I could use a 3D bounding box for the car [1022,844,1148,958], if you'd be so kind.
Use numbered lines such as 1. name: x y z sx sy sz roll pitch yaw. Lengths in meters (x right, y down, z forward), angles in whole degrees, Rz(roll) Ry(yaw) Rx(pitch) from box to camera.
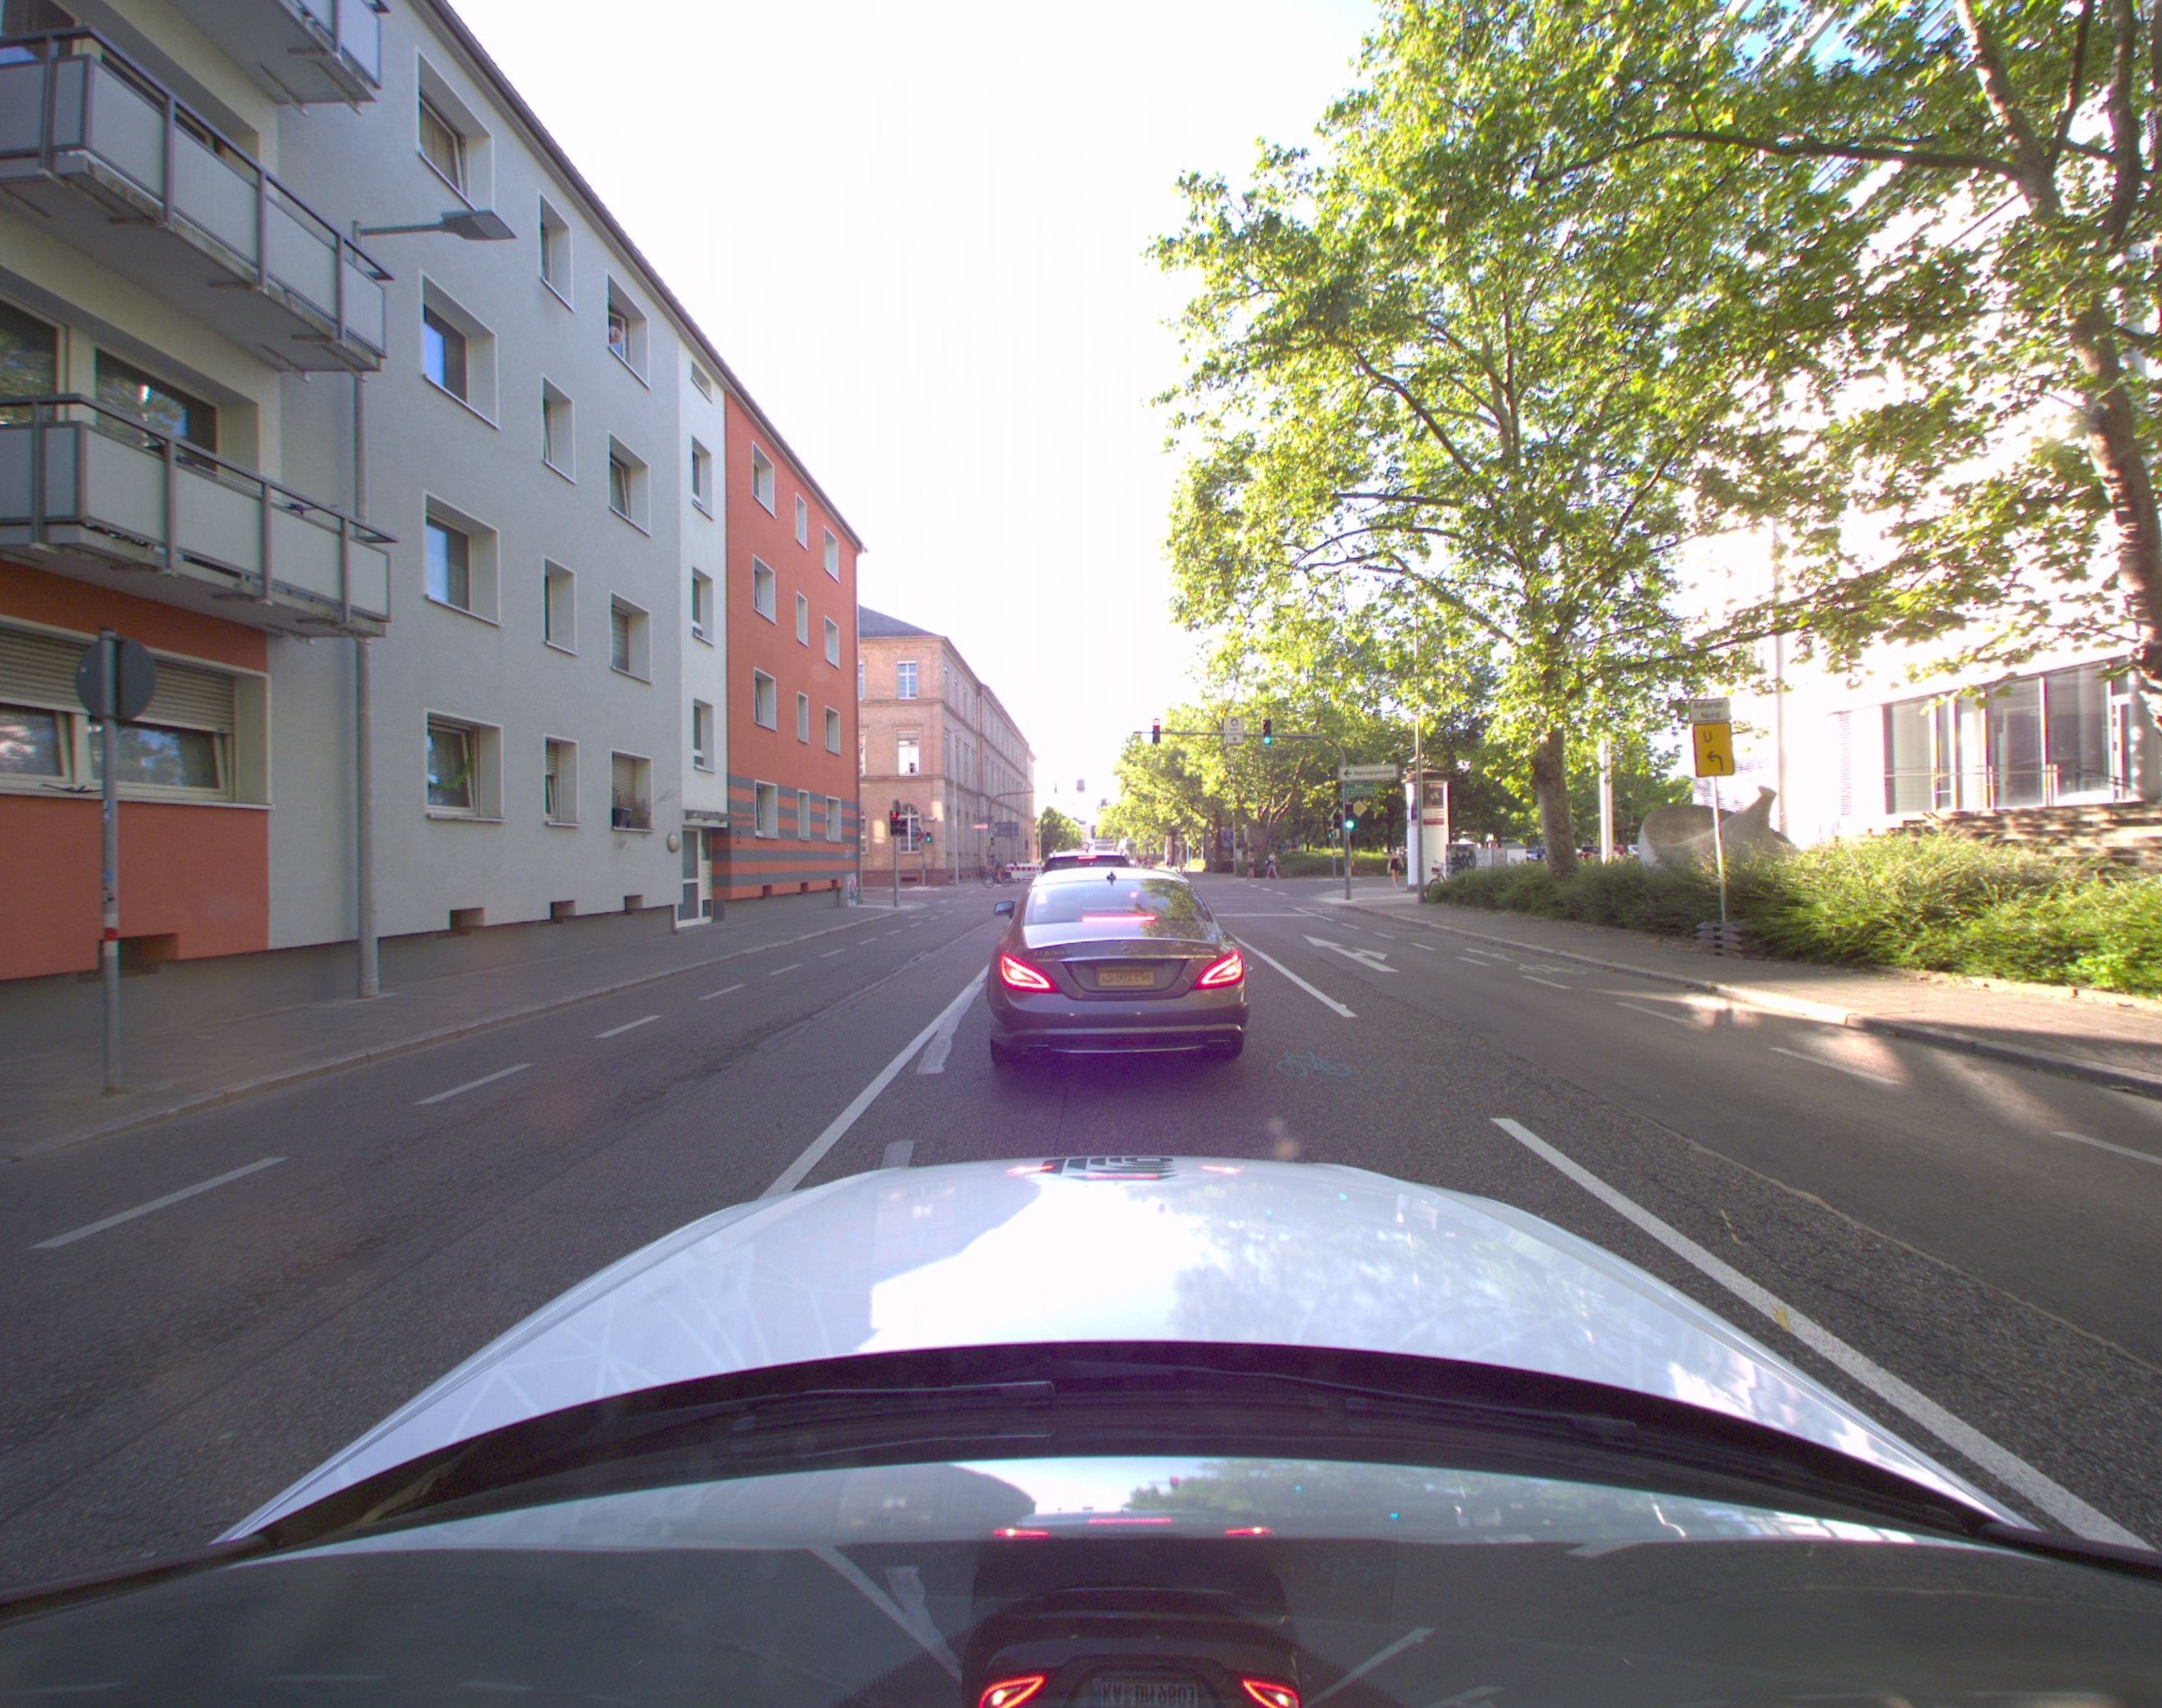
1. car: 0.182 0.701 13.867 1.801 1.612 4.003 -1 -1 3

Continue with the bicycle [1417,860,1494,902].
1. bicycle: 10.802 0.769 23.500 1.969 1.190 0.528 0 -1 0

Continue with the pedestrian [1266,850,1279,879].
1. pedestrian: 11.527 0.614 48.949 0.678 1.697 0.975 -1 -1 18

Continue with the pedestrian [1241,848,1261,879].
1. pedestrian: 10.202 0.554 48.887 0.735 1.808 0.902 -1 -2 -22

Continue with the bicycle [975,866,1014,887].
1. bicycle: -4.583 1.197 43.080 1.969 1.062 0.699 0 -1 -30

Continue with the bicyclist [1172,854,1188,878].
1. bicyclist: 6.389 0.763 52.602 0.810 1.558 0.643 0 -1 -37

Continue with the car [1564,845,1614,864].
1. car: 39.740 0.050 63.824 1.624 1.483 3.796 0 -1 1

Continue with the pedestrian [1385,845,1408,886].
1. pedestrian: 12.747 0.445 32.923 0.792 1.630 0.911 -1 -1 18

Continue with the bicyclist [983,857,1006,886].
1. bicyclist: -4.572 0.901 43.102 0.956 1.500 0.814 0 -1 -30

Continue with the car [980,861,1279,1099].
1. car: 0.190 0.784 7.256 1.839 1.429 4.512 0 0 -3

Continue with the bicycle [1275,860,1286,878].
1. bicycle: 11.964 0.893 48.803 0.520 1.100 1.749 -1 -1 16

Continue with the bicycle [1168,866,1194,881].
1. bicycle: 6.472 1.258 52.656 1.876 0.891 0.543 0 -1 -37
